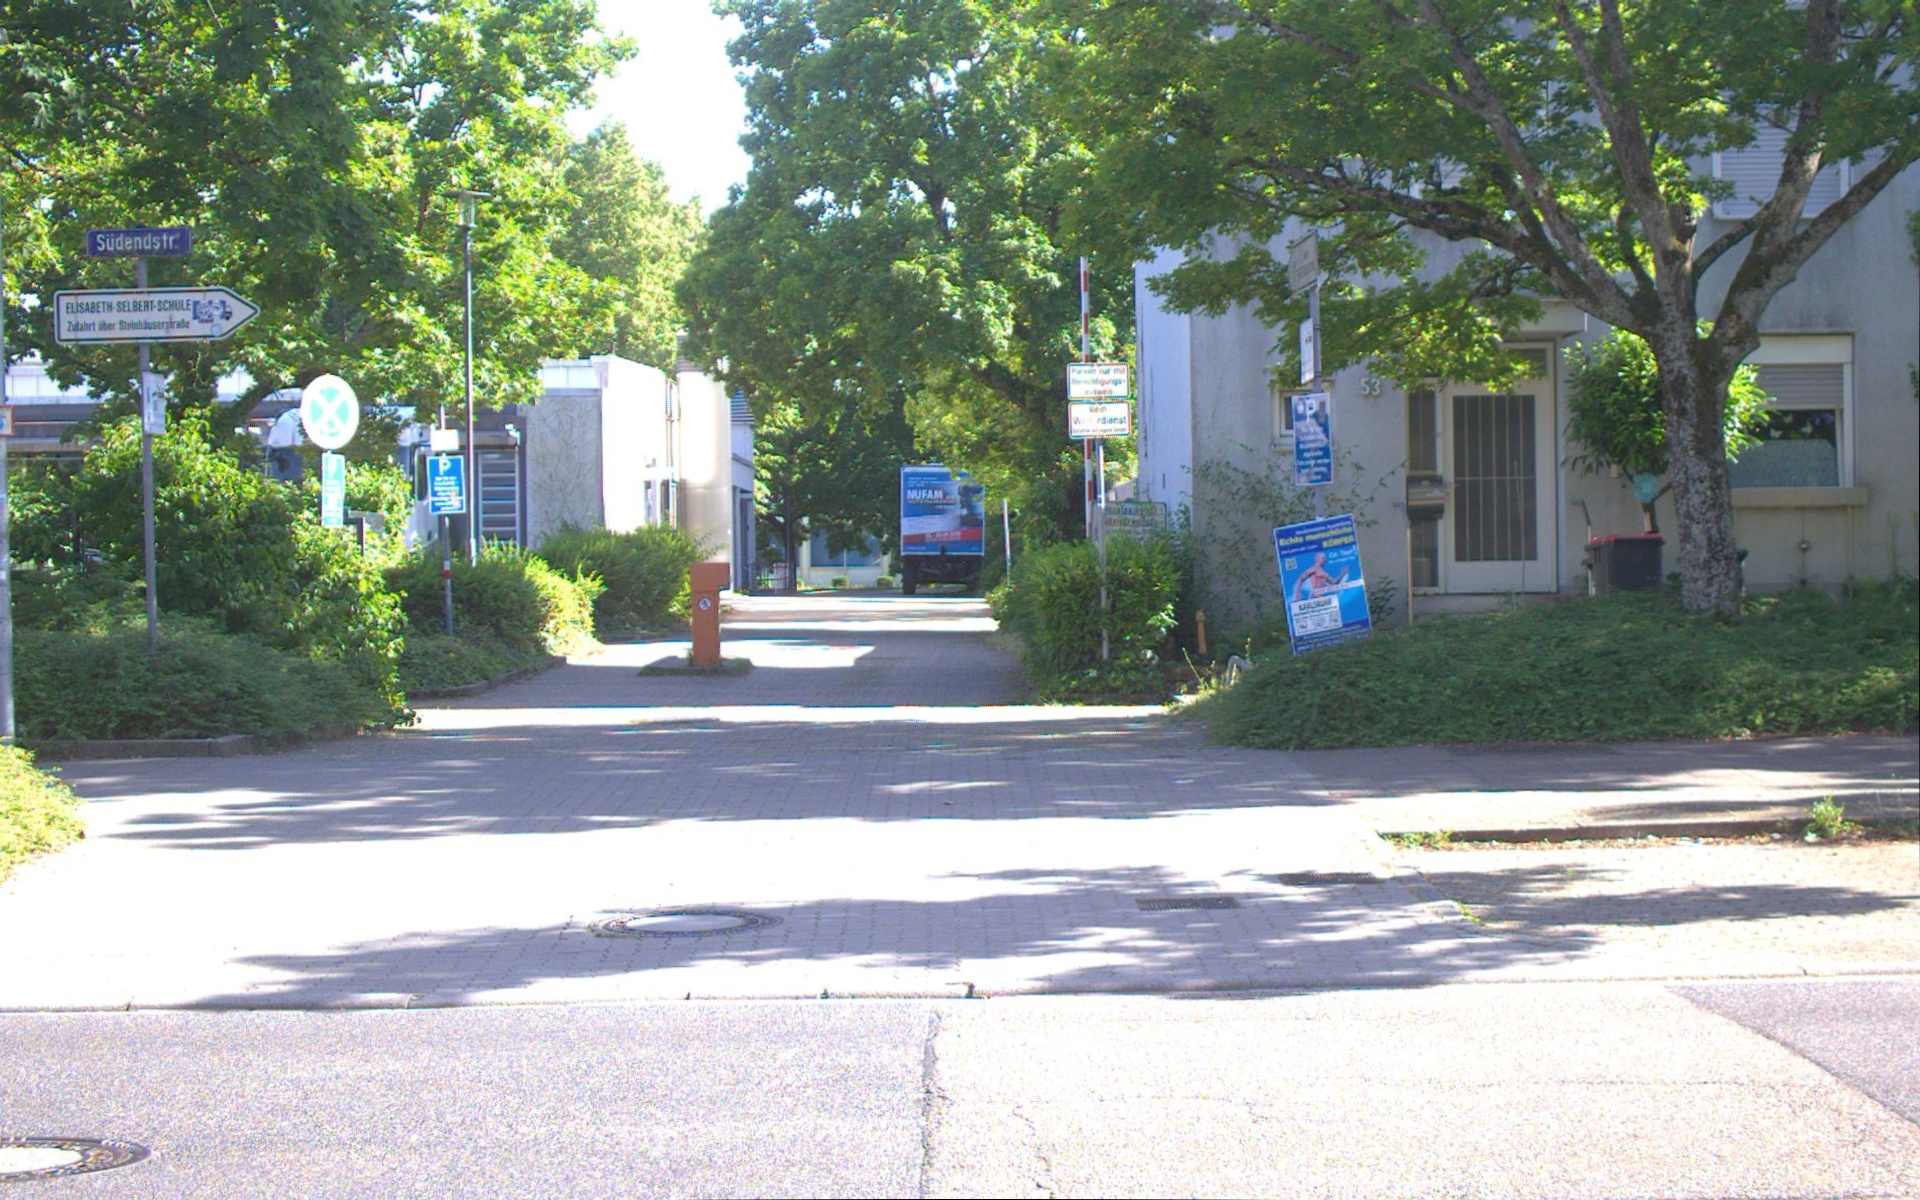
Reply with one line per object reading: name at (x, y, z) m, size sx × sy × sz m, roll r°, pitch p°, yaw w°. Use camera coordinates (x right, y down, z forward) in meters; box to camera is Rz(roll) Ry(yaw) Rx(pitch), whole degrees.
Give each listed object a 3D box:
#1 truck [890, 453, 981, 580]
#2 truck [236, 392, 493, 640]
truck at (-0.725, -2.647, 109.764) m, size 2.760 × 3.856 × 9.330 m, roll 0°, pitch 1°, yaw 0°
truck at (-9.619, -1.364, 56.275) m, size 2.802 × 3.793 × 6.924 m, roll 0°, pitch 1°, yaw 2°
